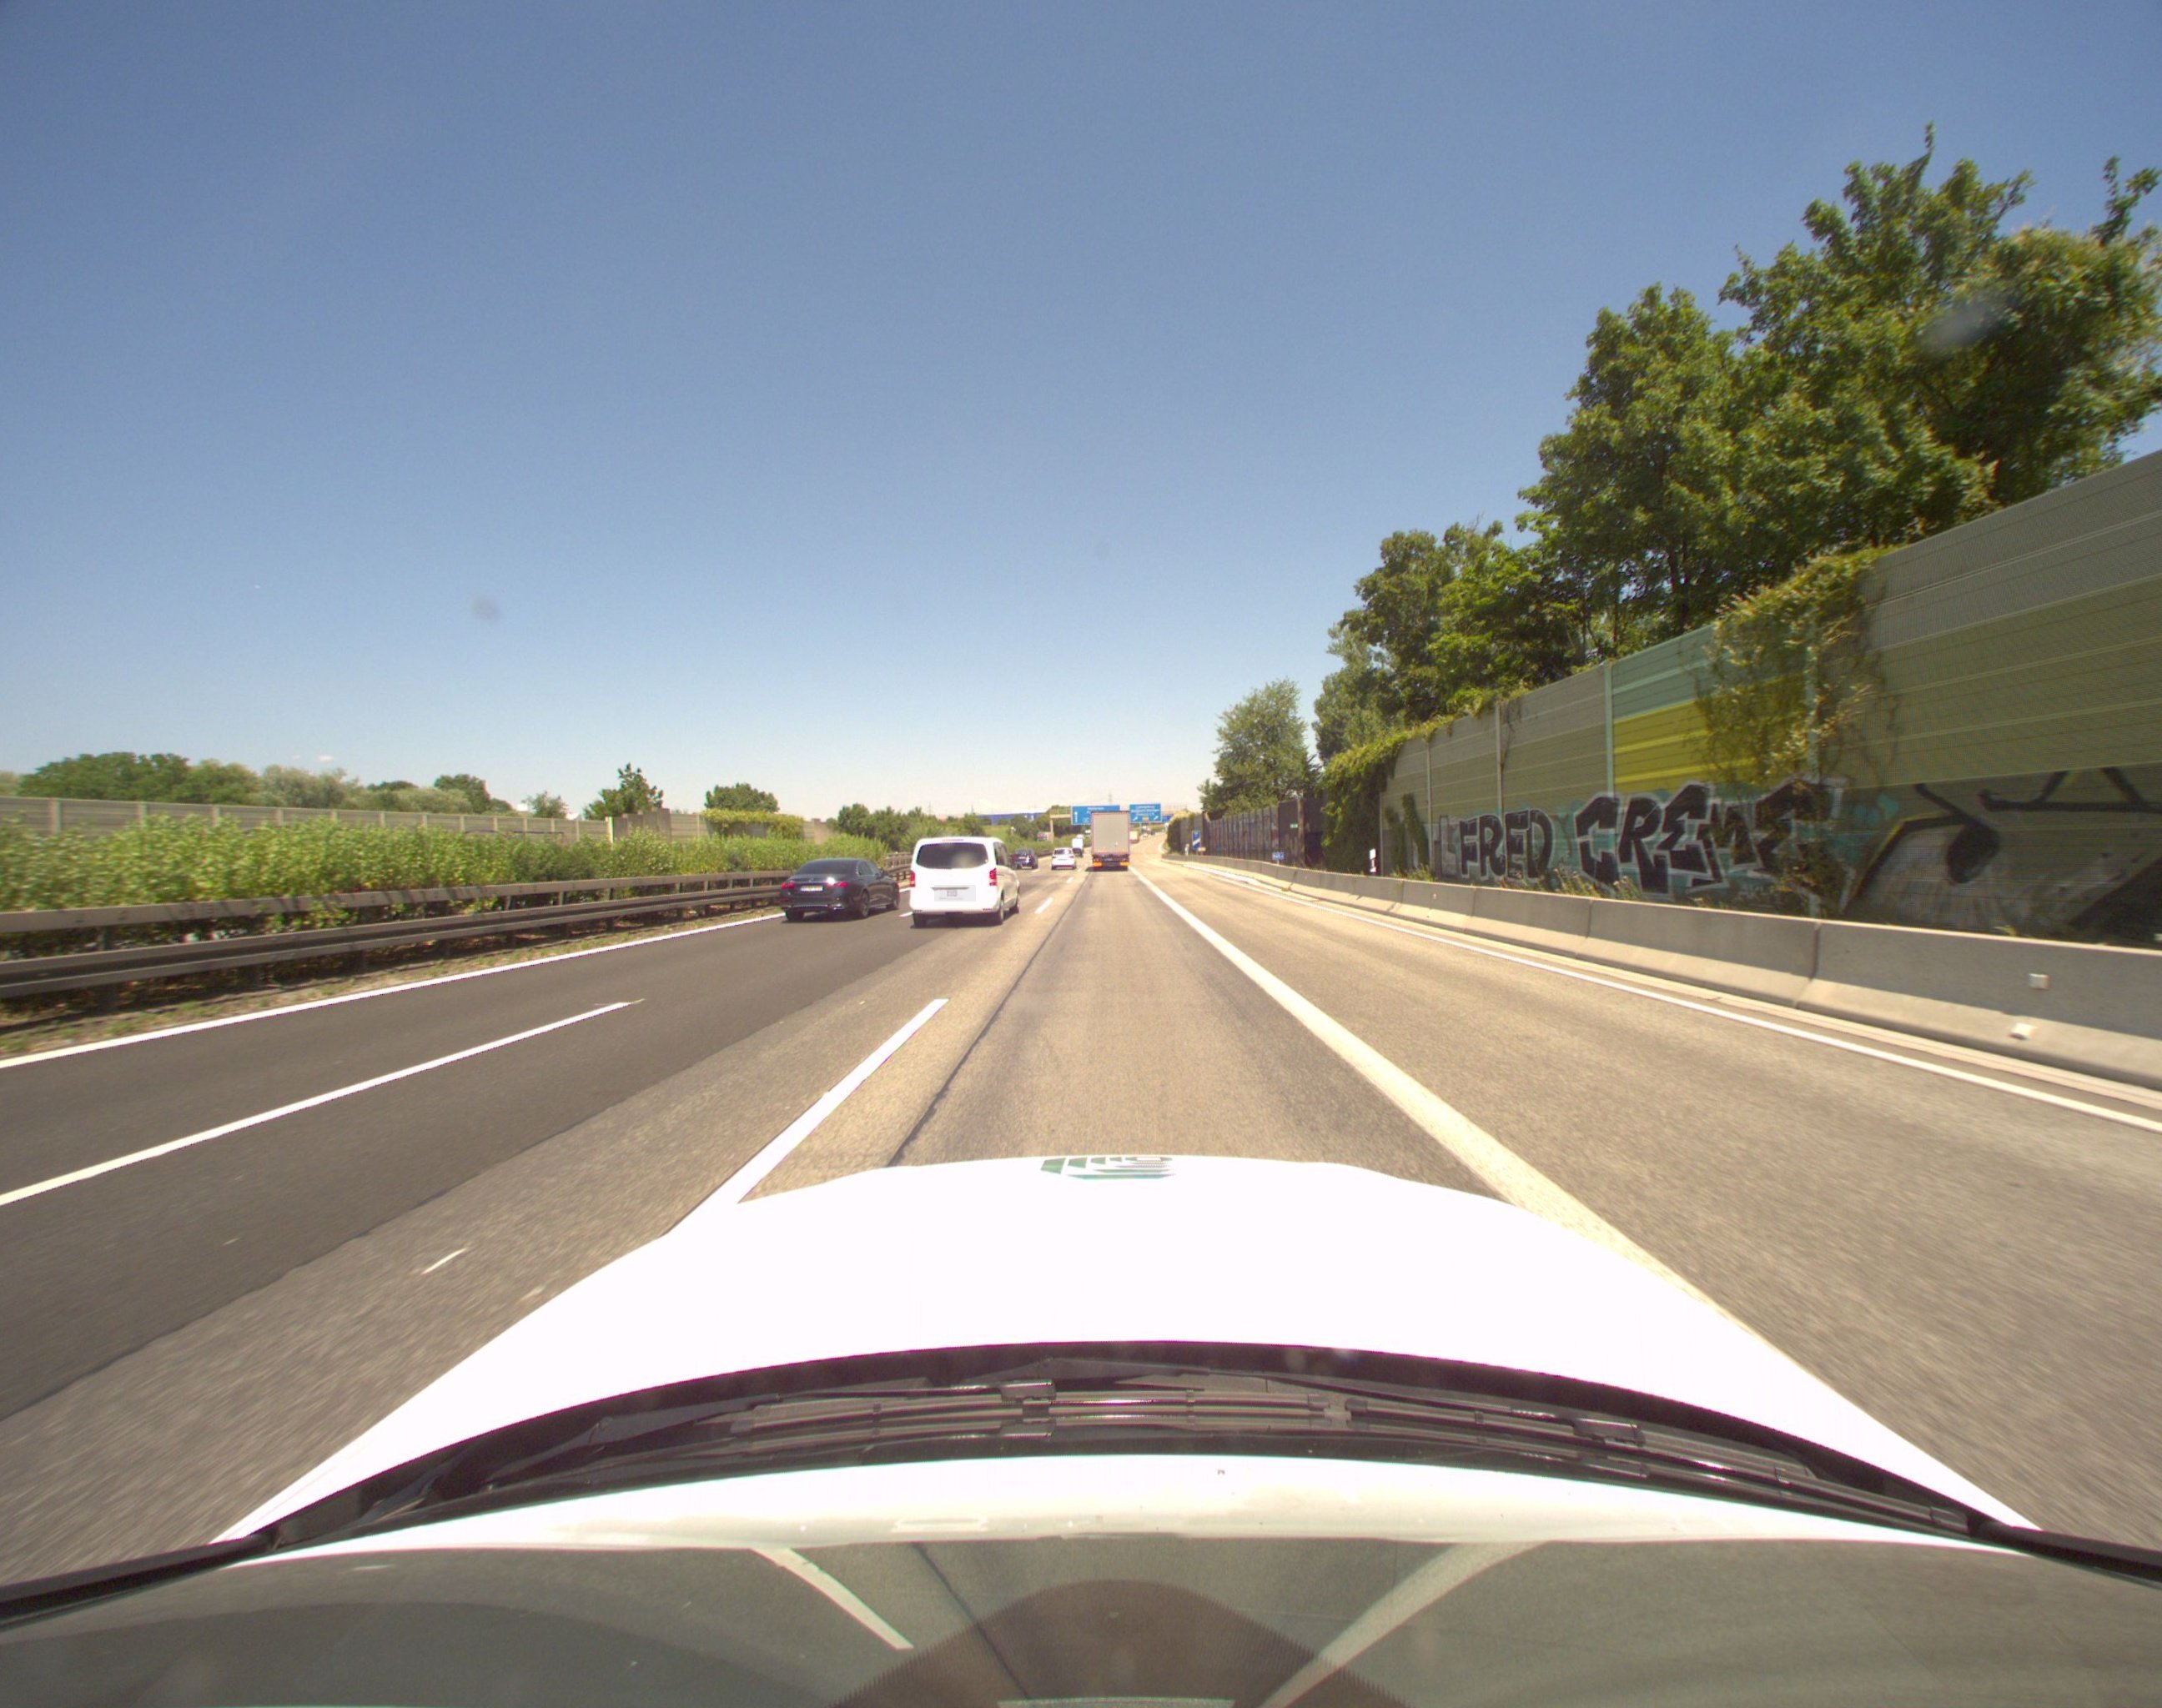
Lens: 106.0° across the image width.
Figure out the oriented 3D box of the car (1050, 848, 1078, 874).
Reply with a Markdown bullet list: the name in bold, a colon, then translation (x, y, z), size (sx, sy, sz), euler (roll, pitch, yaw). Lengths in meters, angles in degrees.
- **car**: translation (-1.273, 0.492, 62.145), size (1.897, 1.851, 4.633), euler (-1, 0, 2)

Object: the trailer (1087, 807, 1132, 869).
- **trailer**: translation (2.059, -1.031, 59.151), size (2.917, 4.015, 12.043), euler (-1, 0, 2)

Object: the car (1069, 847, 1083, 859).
- **car**: translation (-0.682, -0.088, 119.054), size (1.897, 1.689, 4.633), euler (-1, 0, 2)

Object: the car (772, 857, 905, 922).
- **car**: translation (-6.018, 0.817, 20.903), size (1.750, 1.408, 5.041), euler (-1, 0, 2)

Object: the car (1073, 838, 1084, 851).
- **car**: translation (-0.469, -1.744, 153.068), size (1.986, 2.374, 4.001), euler (0, -1, 2)

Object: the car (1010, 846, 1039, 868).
- **car**: translation (-4.457, 0.211, 64.911), size (1.897, 1.689, 4.633), euler (-1, 0, 2)

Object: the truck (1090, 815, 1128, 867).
- **truck**: translation (2.284, -1.021, 66.735), size (2.917, 4.015, 7.586), euler (-1, 0, 2)

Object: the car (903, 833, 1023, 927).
- **car**: translation (-2.532, 0.519, 18.681), size (1.923, 1.851, 4.694), euler (-1, 0, 2)
